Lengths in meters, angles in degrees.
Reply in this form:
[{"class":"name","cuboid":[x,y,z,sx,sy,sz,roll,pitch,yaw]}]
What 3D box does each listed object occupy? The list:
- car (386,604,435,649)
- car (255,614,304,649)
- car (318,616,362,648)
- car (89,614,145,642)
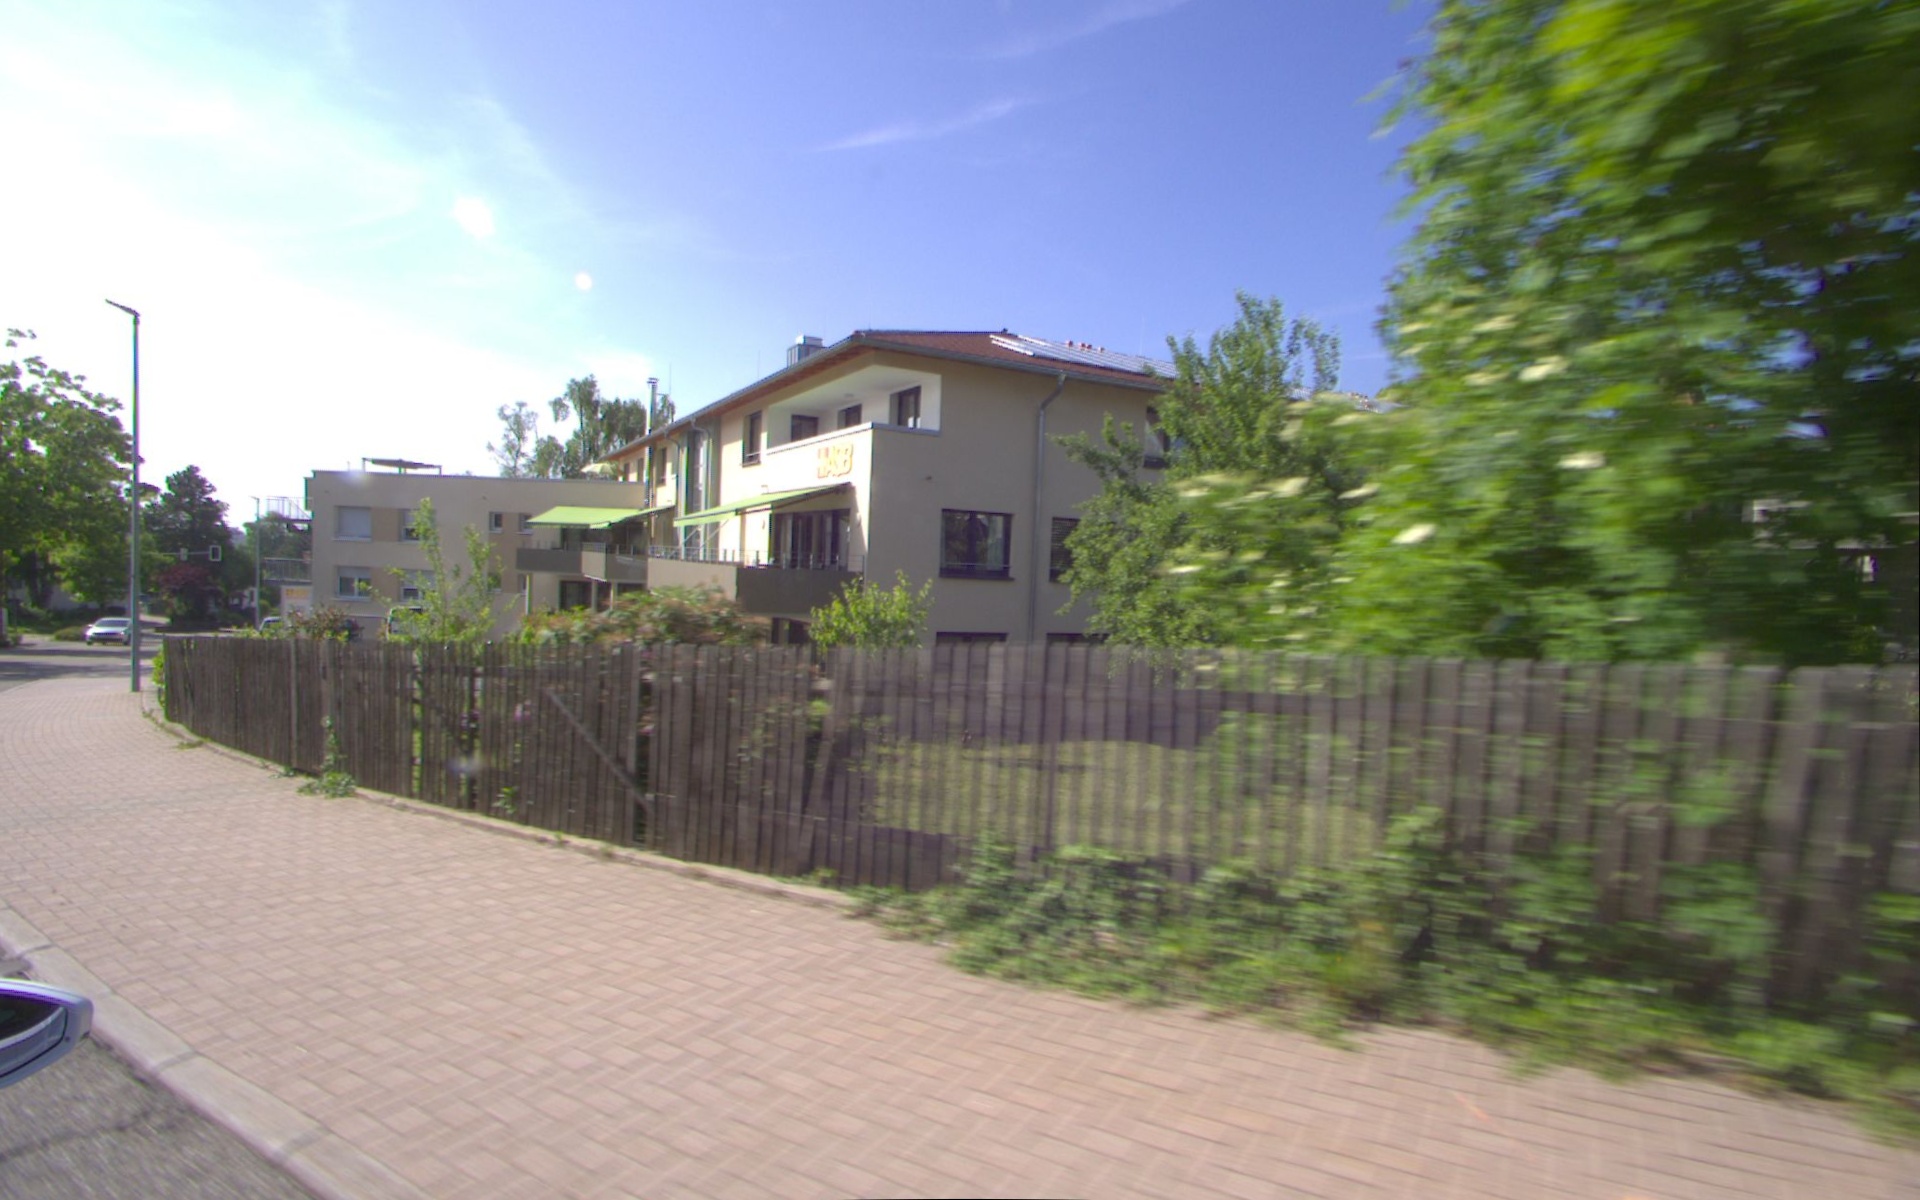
[{"class":"car","cuboid":[-25.072,1.194,45.585,1.784,1.960,4.708,1,-1,-31]},{"class":"car","cuboid":[-31.691,1.447,46.711,1.690,1.555,3.985,1,-1,-31]},{"class":"car","cuboid":[-29.146,1.496,47.150,1.690,1.446,3.985,1,-1,-31]},{"class":"car","cuboid":[-45.934,1.507,54.649,1.711,1.461,4.042,3,-2,-31]}]
